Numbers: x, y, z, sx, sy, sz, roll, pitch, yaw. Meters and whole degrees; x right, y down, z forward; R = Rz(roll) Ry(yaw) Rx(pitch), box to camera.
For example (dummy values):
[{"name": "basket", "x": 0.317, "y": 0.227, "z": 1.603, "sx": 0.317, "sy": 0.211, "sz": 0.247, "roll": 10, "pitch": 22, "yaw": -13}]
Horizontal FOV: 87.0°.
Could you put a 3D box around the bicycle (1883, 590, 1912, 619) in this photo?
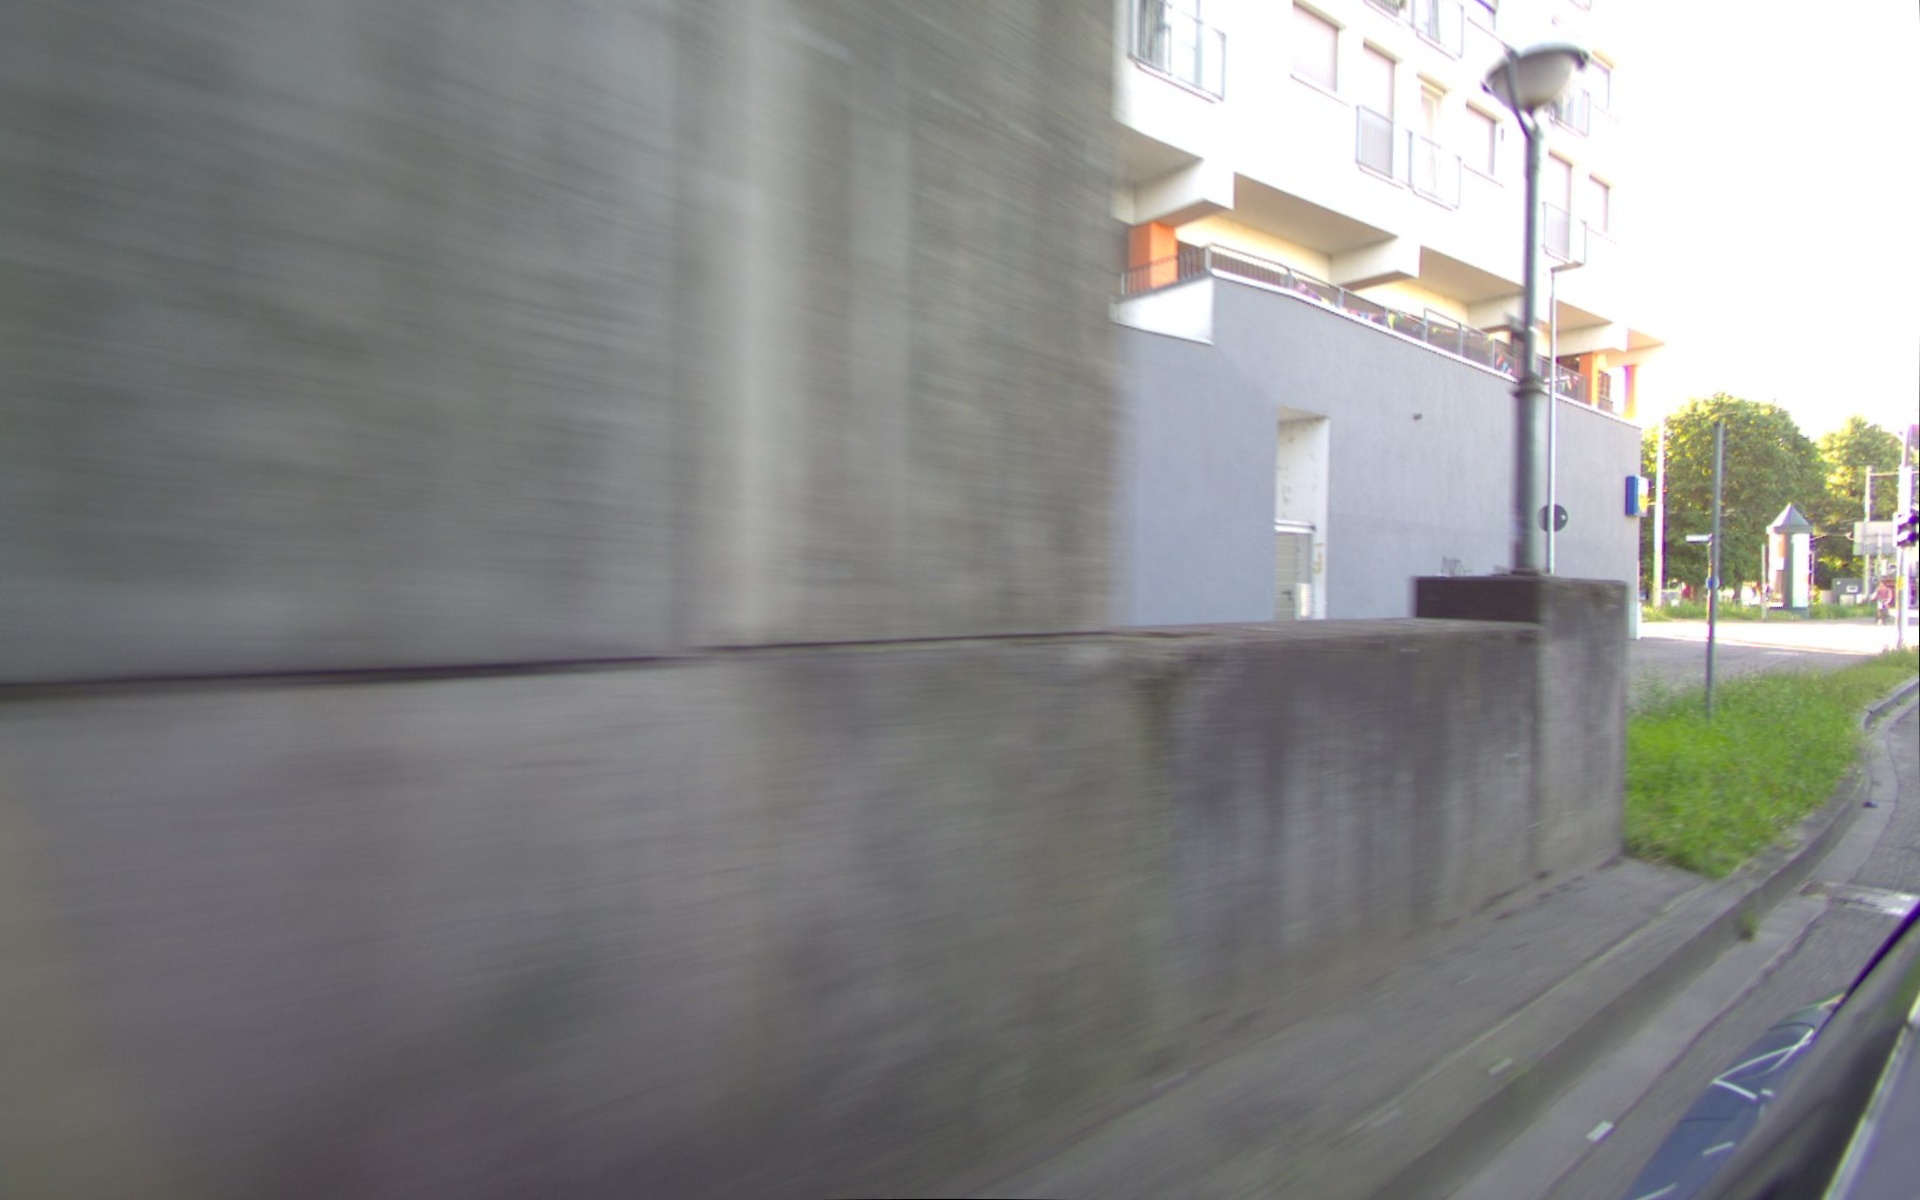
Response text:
[{"name": "bicycle", "x": 39.670, "y": 0.183, "z": 42.816, "sx": 1.966, "sy": 1.207, "sz": 0.720, "roll": 0, "pitch": 1, "yaw": -42}]

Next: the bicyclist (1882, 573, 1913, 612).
[{"name": "bicyclist", "x": 39.780, "y": -0.305, "z": 42.945, "sx": 1.129, "sy": 1.619, "sz": 0.813, "roll": 1, "pitch": 1, "yaw": -41}]
